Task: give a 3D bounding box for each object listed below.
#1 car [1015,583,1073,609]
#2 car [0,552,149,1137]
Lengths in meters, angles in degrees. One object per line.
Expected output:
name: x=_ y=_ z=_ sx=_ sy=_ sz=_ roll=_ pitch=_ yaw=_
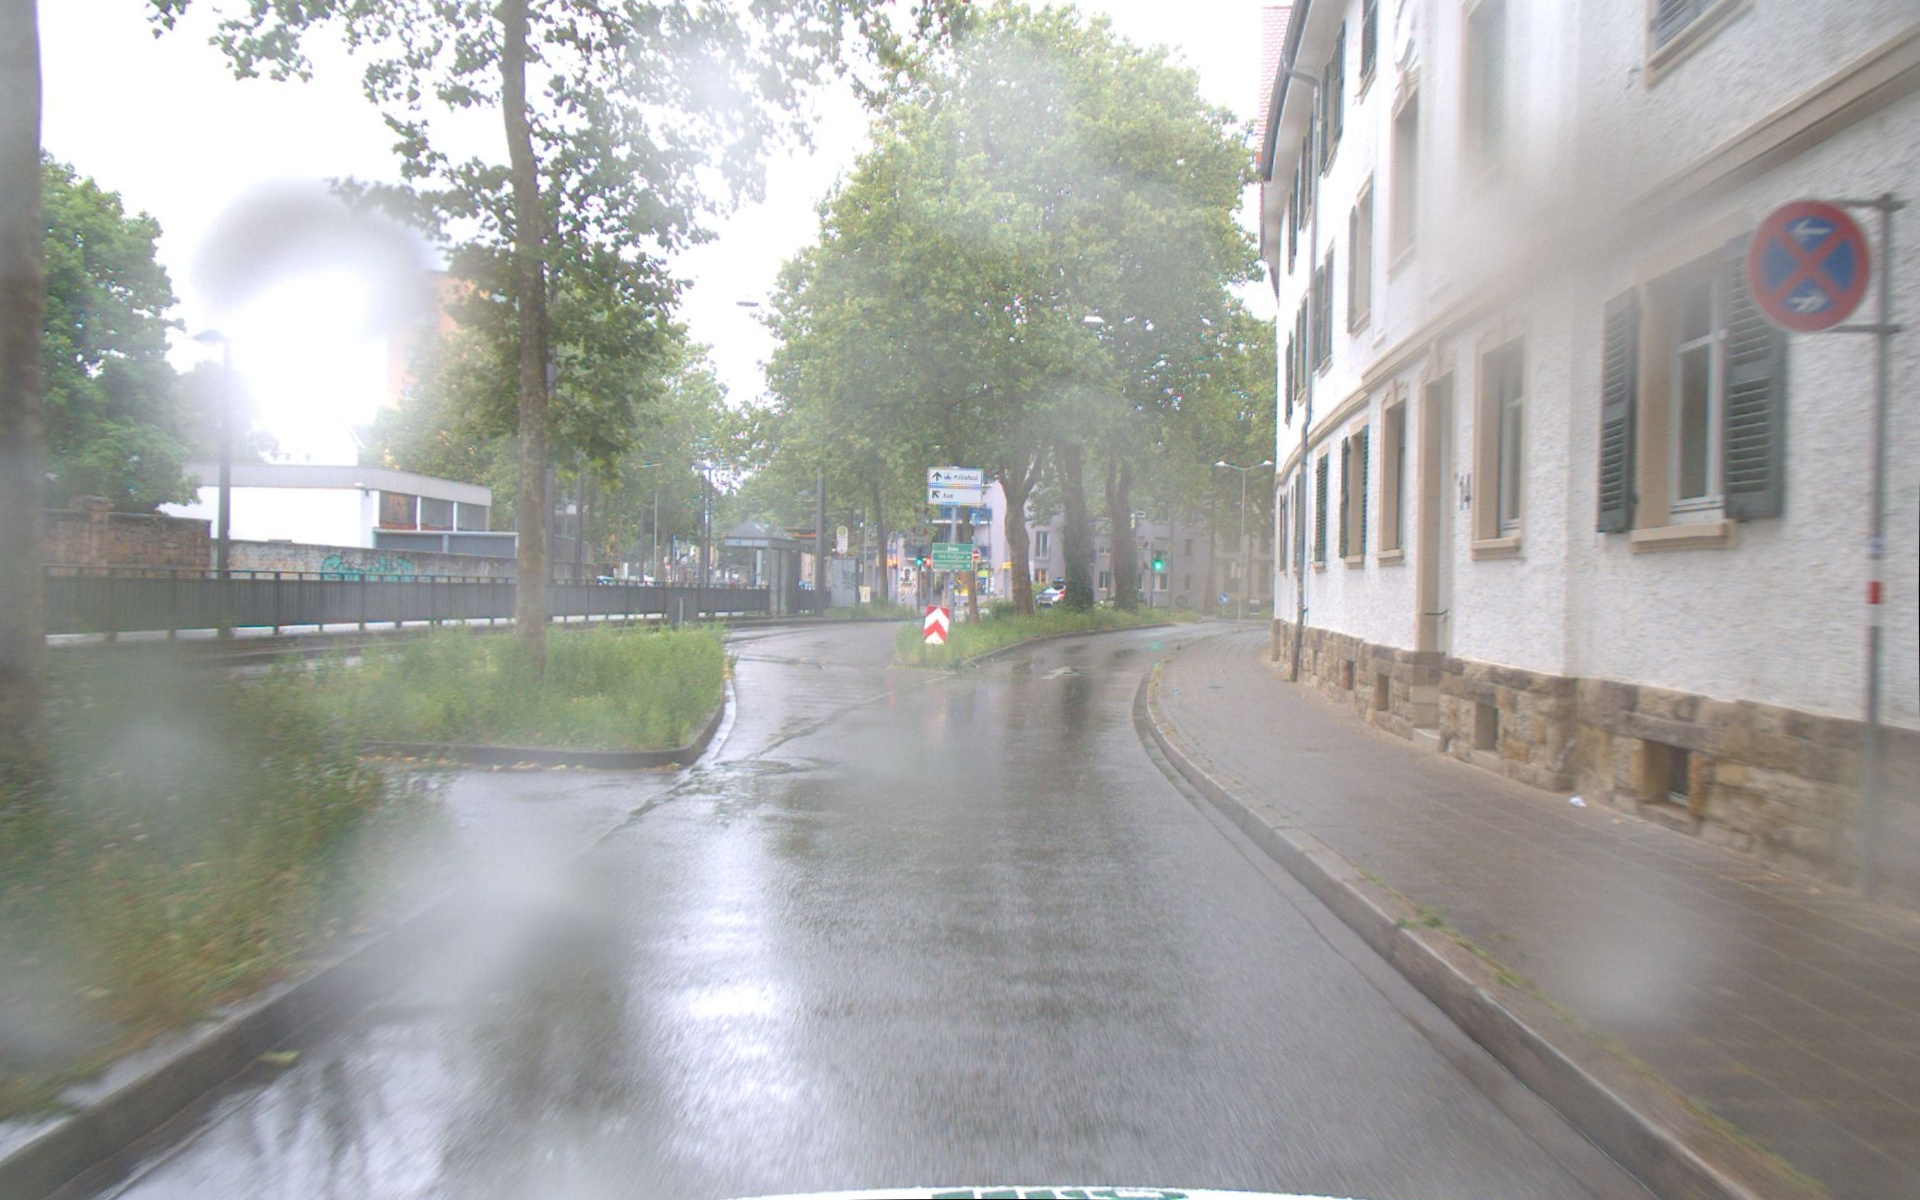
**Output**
car: x=6.071 y=-0.296 z=119.516 sx=1.967 sy=1.625 sz=3.970 roll=3 pitch=0 yaw=45
car: x=-4.663 y=0.650 z=4.901 sx=4.268 sy=1.539 sz=1.958 roll=0 pitch=2 yaw=29
